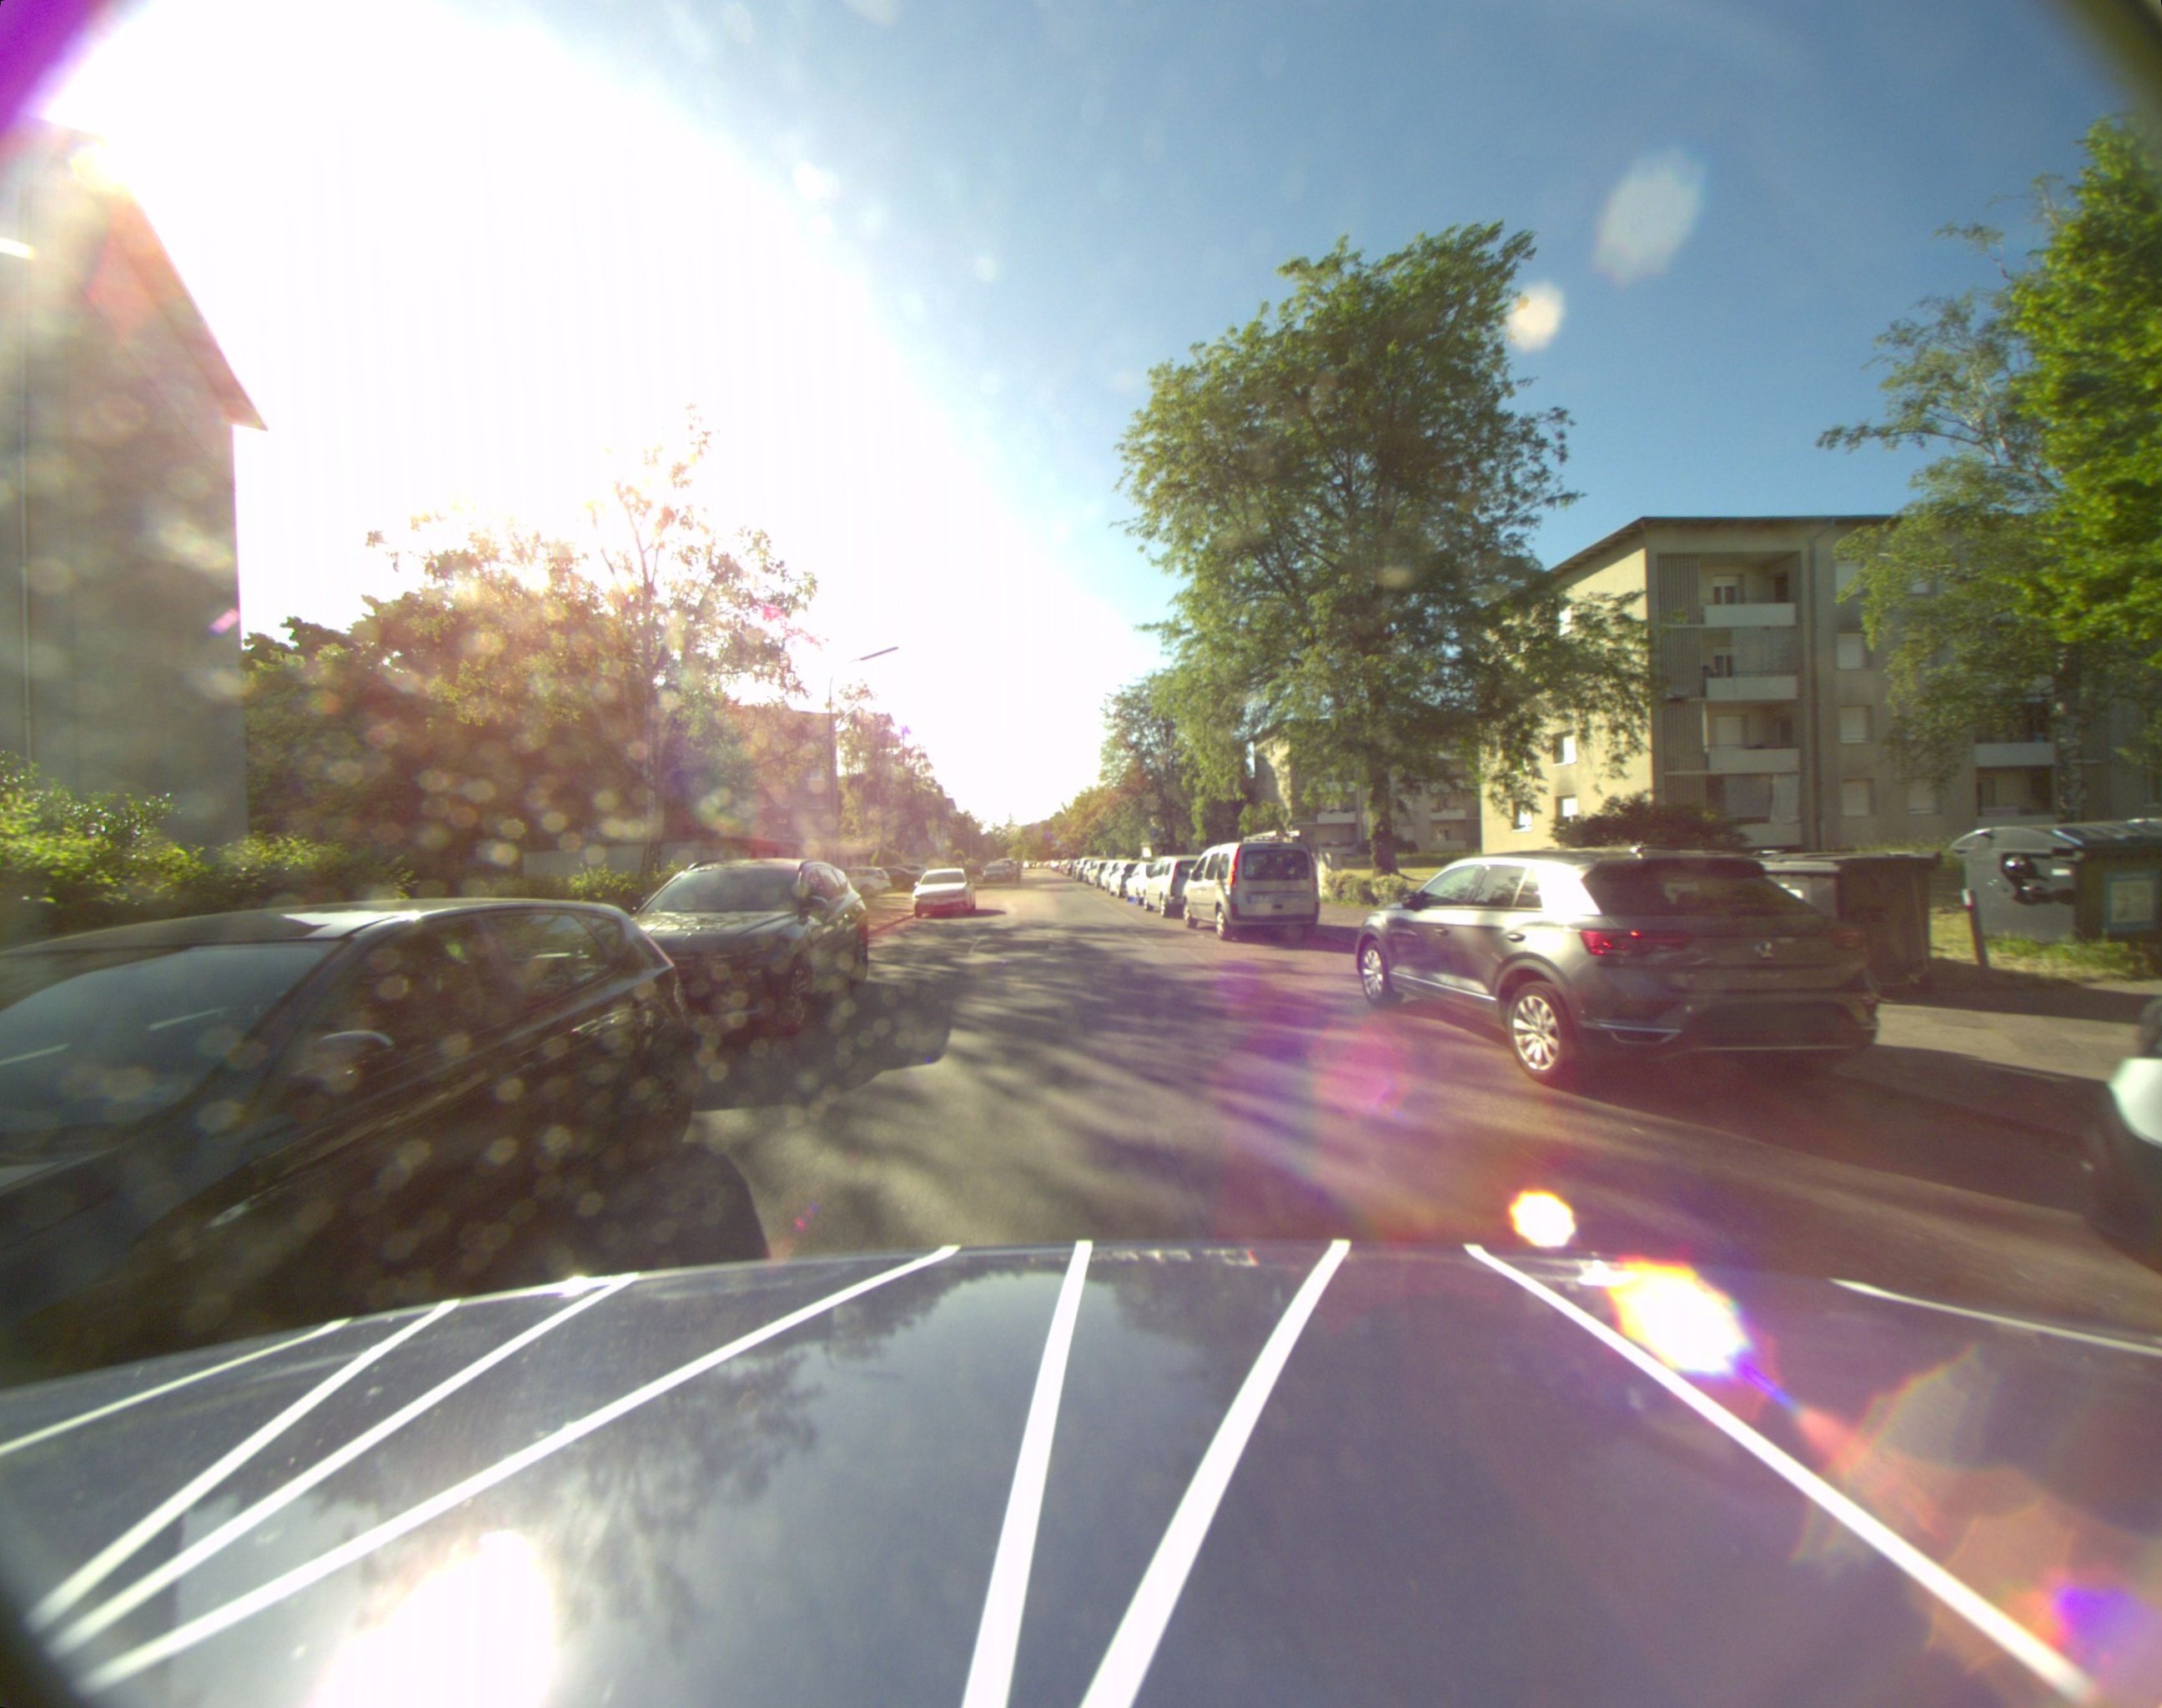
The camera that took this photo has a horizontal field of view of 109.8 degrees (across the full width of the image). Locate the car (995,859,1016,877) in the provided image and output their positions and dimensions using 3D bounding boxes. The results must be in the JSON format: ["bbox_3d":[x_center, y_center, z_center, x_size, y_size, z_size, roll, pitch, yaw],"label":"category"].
[{"bbox_3d":[-6.965,1.272,70.178,1.737,1.481,4.499,-4,0,-6],"label":"car"}]

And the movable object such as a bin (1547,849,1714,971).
[{"bbox_3d":[7.185,0.696,10.036,1.104,1.412,1.360,-5,0,-3],"label":"movable object such as a bin"}]

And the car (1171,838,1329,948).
[{"bbox_3d":[3.207,0.678,15.415,1.860,1.881,4.416,-1,0,-5],"label":"car"}]

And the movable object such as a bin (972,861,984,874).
[{"bbox_3d":[-11.325,1.469,83.552,1.028,1.302,1.387,1,0,7],"label":"movable object such as a bin"}]

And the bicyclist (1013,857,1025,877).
[{"bbox_3d":[-4.486,0.940,55.157,0.812,1.348,1.091,-3,0,-3],"label":"bicyclist"}]

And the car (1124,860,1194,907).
[{"bbox_3d":[2.626,0.966,26.644,1.691,1.456,4.524,0,0,-4],"label":"car"}]

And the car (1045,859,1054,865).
[{"bbox_3d":[-6.962,1.766,168.060,1.636,1.470,3.877,-1,0,-9],"label":"car"}]

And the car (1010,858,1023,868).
[{"bbox_3d":[-10.130,1.439,118.951,1.809,1.486,3.794,-3,0,-2],"label":"car"}]

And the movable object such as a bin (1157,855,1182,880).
[{"bbox_3d":[5.058,0.747,43.550,1.181,1.332,1.343,-5,0,-2],"label":"movable object such as a bin"}]

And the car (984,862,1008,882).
[{"bbox_3d":[-6.572,1.352,58.956,1.737,1.395,3.893,-4,0,-6],"label":"car"}]

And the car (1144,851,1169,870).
[{"bbox_3d":[7.150,0.617,72.360,1.575,1.631,3.998,-3,0,-5],"label":"car"}]

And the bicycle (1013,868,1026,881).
[{"bbox_3d":[-4.485,1.488,55.713,0.824,0.896,2.202,-3,0,-2],"label":"bicycle"}]

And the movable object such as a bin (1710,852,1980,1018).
[{"bbox_3d":[7.168,0.702,7.242,1.104,1.348,1.360,-5,0,-3],"label":"movable object such as a bin"}]

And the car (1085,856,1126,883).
[{"bbox_3d":[1.404,0.887,44.227,1.668,1.504,3.535,-1,0,-10],"label":"car"}]

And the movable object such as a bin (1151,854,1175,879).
[{"bbox_3d":[4.981,0.742,46.238,1.139,1.374,1.441,-5,0,-2],"label":"movable object such as a bin"}]

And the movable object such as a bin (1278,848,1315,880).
[{"bbox_3d":[10.104,0.464,35.641,1.180,1.412,1.462,-5,0,-2],"label":"movable object such as a bin"}]

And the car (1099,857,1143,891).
[{"bbox_3d":[1.940,0.948,37.718,1.691,1.526,3.889,-1,0,-4],"label":"car"}]

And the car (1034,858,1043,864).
[{"bbox_3d":[-10.513,1.724,187.243,1.659,1.621,4.068,-1,0,-10],"label":"car"}]

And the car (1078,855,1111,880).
[{"bbox_3d":[0.899,0.939,53.471,1.908,1.630,4.347,-1,0,-4],"label":"car"}]

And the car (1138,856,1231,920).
[{"bbox_3d":[2.757,0.867,21.153,1.714,1.591,3.984,0,0,-5],"label":"car"}]

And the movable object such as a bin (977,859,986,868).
[{"bbox_3d":[-17.012,1.622,129.814,1.329,1.422,1.029,-2,0,-9],"label":"movable object such as a bin"}]

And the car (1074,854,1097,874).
[{"bbox_3d":[0.333,0.822,63.921,1.759,1.596,3.967,0,0,-3],"label":"car"}]

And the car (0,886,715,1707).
[{"bbox_3d":[-3.076,0.994,2.378,1.913,1.522,4.326,-3,0,-4],"label":"car"}]

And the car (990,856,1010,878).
[{"bbox_3d":[-6.720,1.095,63.223,1.493,1.708,2.582,-4,0,-4],"label":"car"}]

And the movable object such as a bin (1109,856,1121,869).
[{"bbox_3d":[3.688,0.874,82.409,1.181,1.332,1.343,-3,0,-2],"label":"movable object such as a bin"}]

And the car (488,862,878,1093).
[{"bbox_3d":[-3.658,0.968,8.155,1.913,1.630,4.626,-3,0,-4],"label":"car"}]

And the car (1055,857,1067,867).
[{"bbox_3d":[-2.954,1.125,111.993,1.759,1.416,4.209,0,0,-2],"label":"car"}]

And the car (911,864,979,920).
[{"bbox_3d":[-4.261,1.139,24.358,1.758,1.505,4.102,-4,0,-6],"label":"car"}]

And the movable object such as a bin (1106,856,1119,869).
[{"bbox_3d":[3.459,0.933,83.765,1.181,1.400,1.343,-3,0,-3],"label":"movable object such as a bin"}]

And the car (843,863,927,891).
[{"bbox_3d":[-11.688,1.357,45.447,4.526,1.505,1.828,-1,0,-2],"label":"car"}]

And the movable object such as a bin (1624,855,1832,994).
[{"bbox_3d":[7.260,0.737,8.629,1.104,1.363,1.360,-5,0,-3],"label":"movable object such as a bin"}]

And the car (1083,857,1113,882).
[{"bbox_3d":[1.072,0.973,49.108,1.667,1.504,3.944,-1,0,-3],"label":"car"}]

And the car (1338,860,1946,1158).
[{"bbox_3d":[3.683,0.834,6.092,1.751,1.524,4.138,-1,0,-1],"label":"car"}]

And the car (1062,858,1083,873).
[{"bbox_3d":[-0.853,1.096,74.064,1.759,1.472,4.535,0,0,-5],"label":"car"}]

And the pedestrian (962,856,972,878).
[{"bbox_3d":[-9.838,1.097,65.521,0.705,1.877,0.872,0,0,-3],"label":"pedestrian"}]

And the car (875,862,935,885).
[{"bbox_3d":[-12.507,1.371,54.187,3.955,1.505,1.828,-1,0,-6],"label":"car"}]

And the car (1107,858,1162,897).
[{"bbox_3d":[2.191,0.947,31.920,1.691,1.497,3.816,-1,0,-5],"label":"car"}]

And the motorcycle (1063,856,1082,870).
[{"bbox_3d":[-1.016,1.099,92.126,2.263,1.716,0.932,0,0,-6],"label":"motorcycle"}]

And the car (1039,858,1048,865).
[{"bbox_3d":[-8.940,1.748,180.064,1.659,1.470,3.732,-1,0,-11],"label":"car"}]

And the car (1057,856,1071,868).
[{"bbox_3d":[-2.317,1.150,105.165,1.759,1.626,4.369,0,0,-4],"label":"car"}]

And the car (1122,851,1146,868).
[{"bbox_3d":[5.060,0.555,72.965,1.575,1.516,3.998,-3,0,-5],"label":"car"}]

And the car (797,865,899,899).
[{"bbox_3d":[-11.353,1.337,37.205,4.427,1.505,1.828,-1,0,-3],"label":"car"}]

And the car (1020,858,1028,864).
[{"bbox_3d":[-15.870,2.000,210.547,1.660,1.558,3.686,-1,0,-15],"label":"car"}]

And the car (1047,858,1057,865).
[{"bbox_3d":[-6.204,1.513,162.906,1.812,1.470,3.938,-1,0,-6],"label":"car"}]

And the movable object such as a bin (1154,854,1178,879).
[{"bbox_3d":[5.030,0.722,44.854,1.139,1.350,1.243,-5,0,-2],"label":"movable object such as a bin"}]

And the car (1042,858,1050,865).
[{"bbox_3d":[-8.040,1.709,174.820,1.659,1.470,3.103,-1,0,-8],"label":"car"}]
